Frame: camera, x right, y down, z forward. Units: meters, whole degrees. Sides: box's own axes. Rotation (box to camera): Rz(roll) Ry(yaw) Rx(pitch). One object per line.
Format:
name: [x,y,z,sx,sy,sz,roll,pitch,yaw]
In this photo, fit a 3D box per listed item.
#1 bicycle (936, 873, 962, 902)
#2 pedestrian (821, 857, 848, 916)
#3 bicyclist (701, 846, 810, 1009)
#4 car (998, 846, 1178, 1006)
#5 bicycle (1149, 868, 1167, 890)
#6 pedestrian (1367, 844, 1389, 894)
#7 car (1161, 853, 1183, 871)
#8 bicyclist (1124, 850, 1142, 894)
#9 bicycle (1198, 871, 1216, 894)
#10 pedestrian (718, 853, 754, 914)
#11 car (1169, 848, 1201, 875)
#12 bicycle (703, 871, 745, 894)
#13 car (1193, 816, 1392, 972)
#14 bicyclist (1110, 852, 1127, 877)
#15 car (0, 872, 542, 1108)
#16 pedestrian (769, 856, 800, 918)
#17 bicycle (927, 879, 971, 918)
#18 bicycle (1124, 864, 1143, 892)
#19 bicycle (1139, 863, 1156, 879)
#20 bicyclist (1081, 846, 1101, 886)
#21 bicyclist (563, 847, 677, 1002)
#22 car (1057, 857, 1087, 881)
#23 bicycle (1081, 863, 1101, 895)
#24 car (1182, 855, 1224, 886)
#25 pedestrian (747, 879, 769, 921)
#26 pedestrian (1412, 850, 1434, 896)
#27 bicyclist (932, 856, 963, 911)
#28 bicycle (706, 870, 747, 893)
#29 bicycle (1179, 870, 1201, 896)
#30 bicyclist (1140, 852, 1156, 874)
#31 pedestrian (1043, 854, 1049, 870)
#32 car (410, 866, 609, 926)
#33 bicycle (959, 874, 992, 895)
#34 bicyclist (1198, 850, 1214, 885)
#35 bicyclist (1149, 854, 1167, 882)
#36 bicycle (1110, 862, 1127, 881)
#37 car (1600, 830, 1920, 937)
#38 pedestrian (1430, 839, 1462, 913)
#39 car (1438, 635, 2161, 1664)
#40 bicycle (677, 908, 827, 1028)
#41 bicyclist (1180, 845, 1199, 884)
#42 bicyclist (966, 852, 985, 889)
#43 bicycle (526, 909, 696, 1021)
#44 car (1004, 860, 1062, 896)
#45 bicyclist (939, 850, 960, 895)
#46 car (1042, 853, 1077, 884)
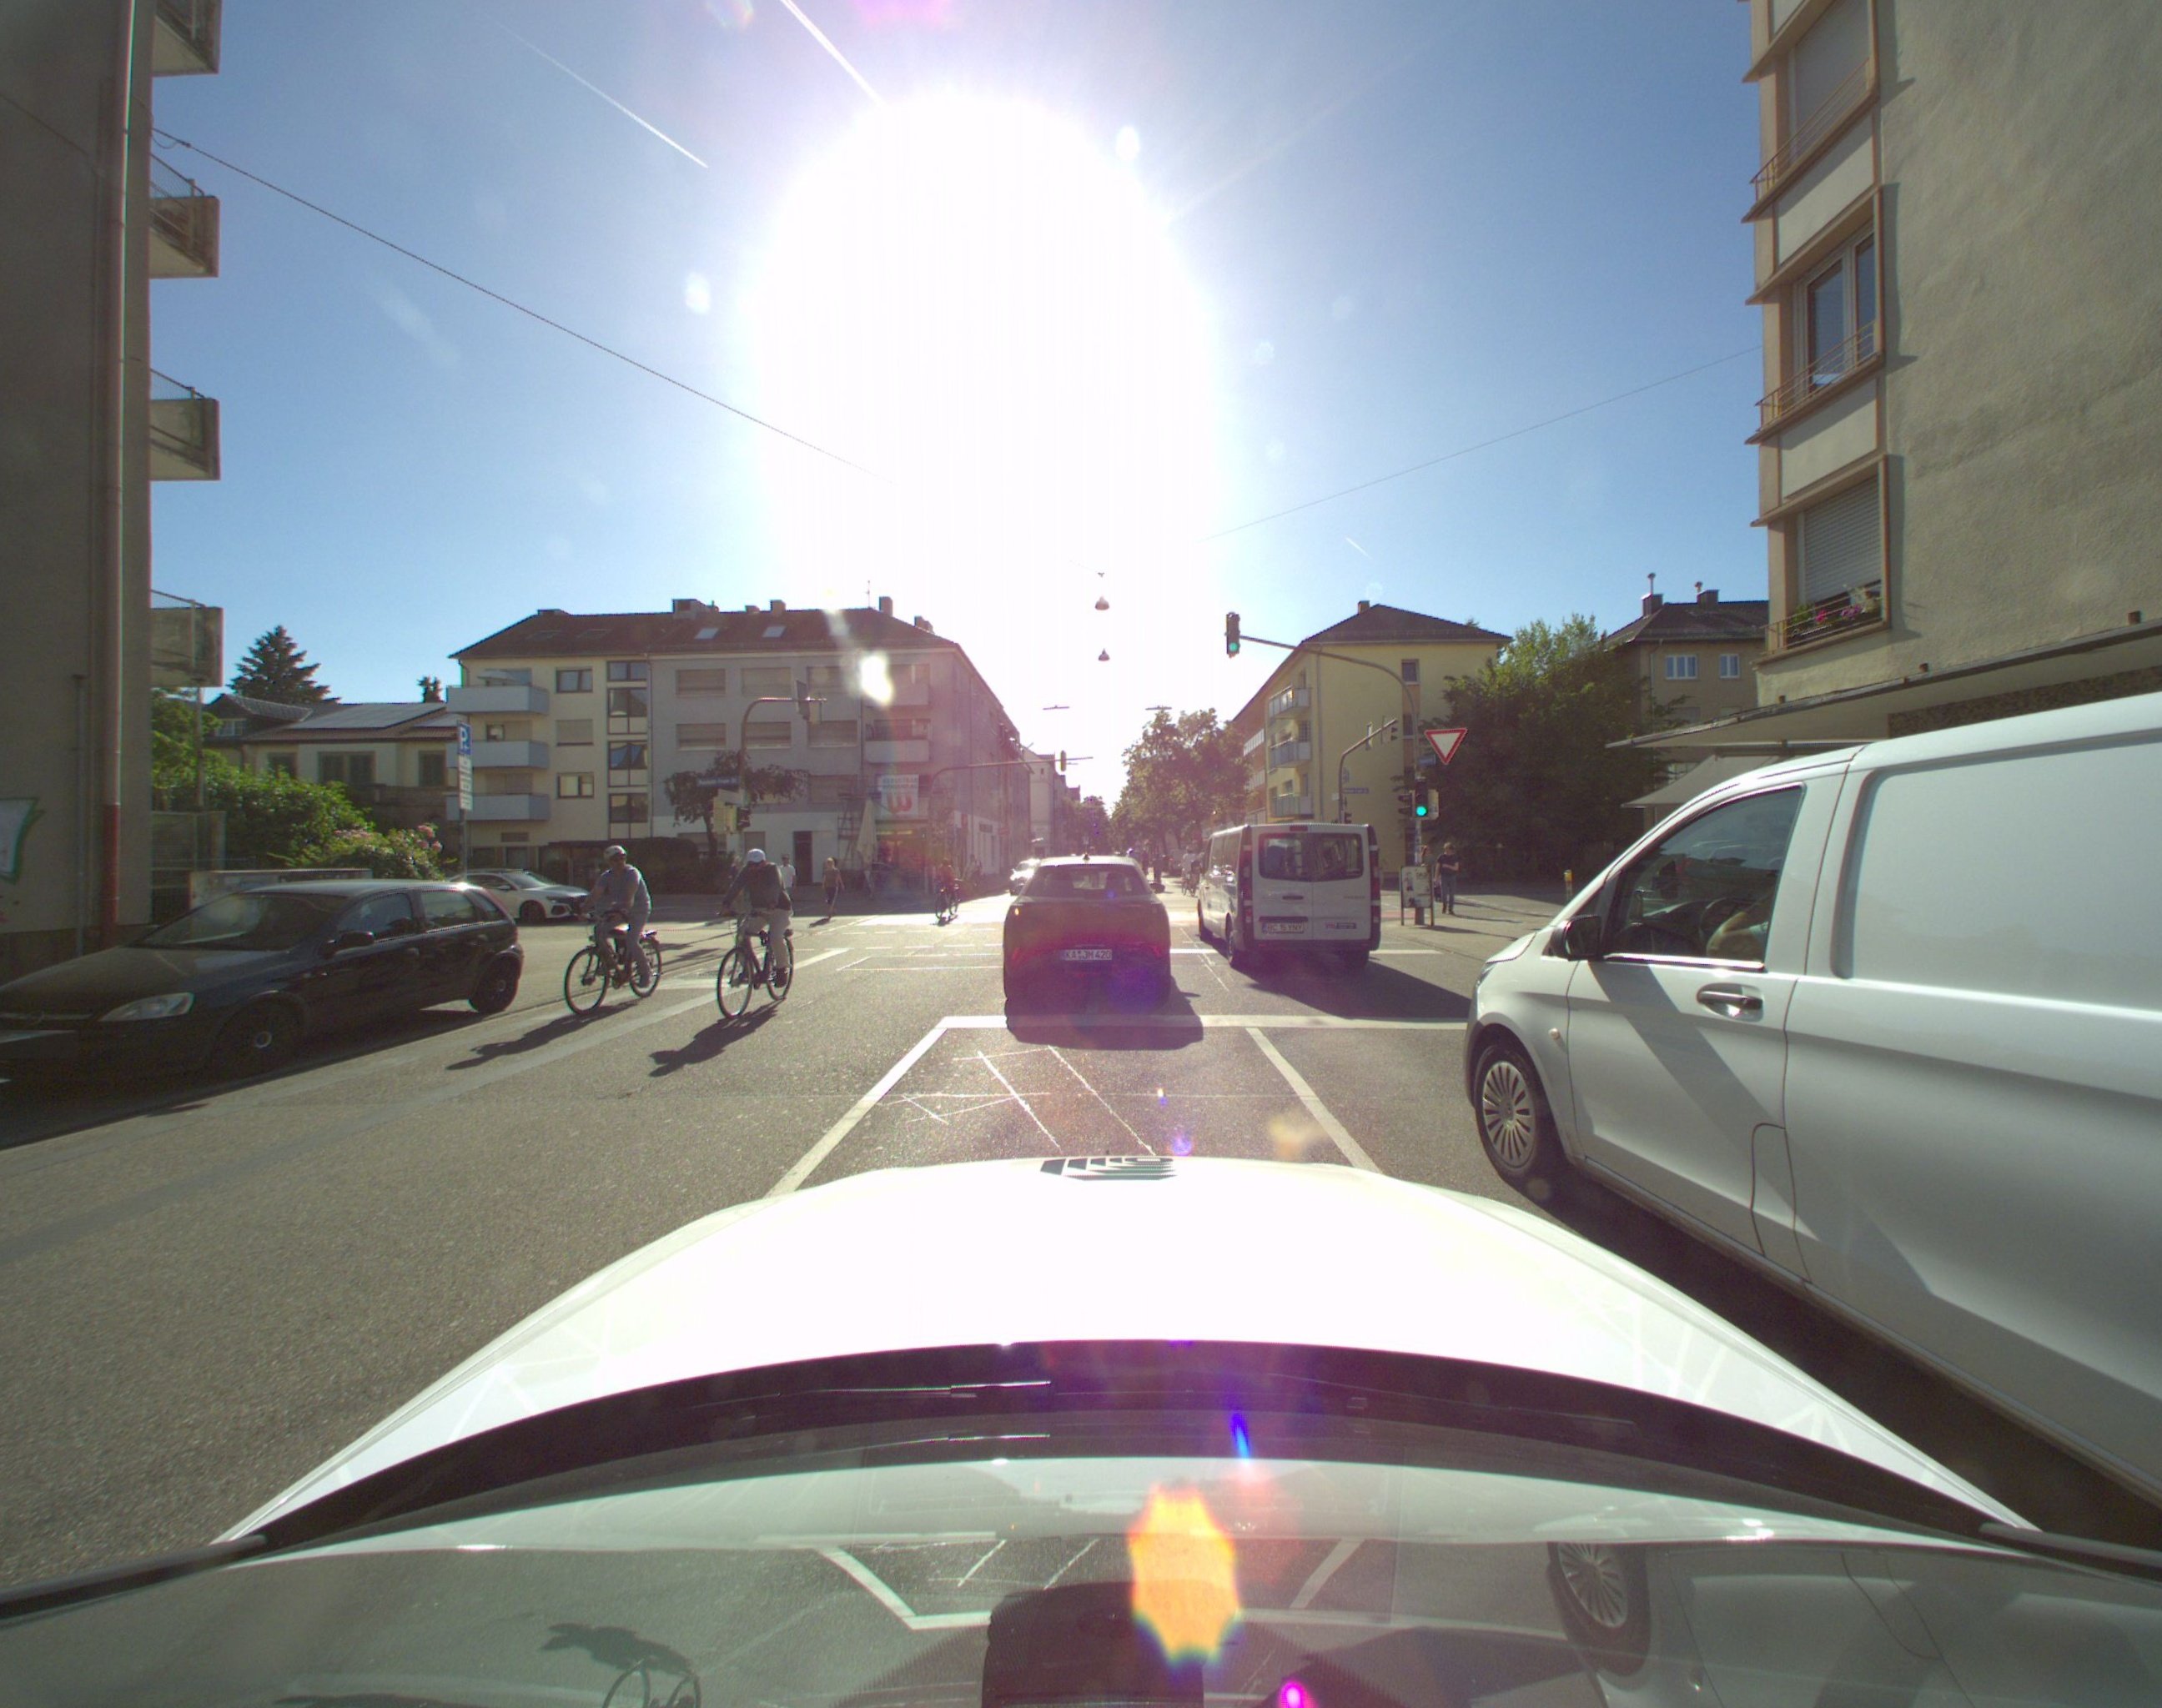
bicycle: [-4.516,1.130,27.988,0.540,0.902,1.827,-1,0,2]
pedestrian: [-6.707,0.879,22.183,0.529,1.581,0.563,-1,0,3]
bicyclist: [-3.361,0.722,8.476,0.677,1.576,0.899,-3,0,2]
car: [0.131,0.724,10.061,1.756,1.558,4.001,-1,0,2]
bicycle: [3.299,1.070,34.887,0.688,0.866,1.878,-1,0,3]
pedestrian: [10.614,0.534,29.088,0.524,1.762,0.623,-1,0,0]
car: [8.089,0.685,72.376,1.706,1.483,3.383,-1,0,2]
bicyclist: [2.038,0.694,31.949,0.630,1.669,1.051,-2,0,1]
bicycle: [5.116,1.158,33.179,0.544,0.866,1.878,-1,0,3]
pedestrian: [-9.855,0.821,23.279,0.571,1.683,0.969,-1,0,2]
car: [7.550,0.501,59.528,2.037,1.846,4.589,-1,0,4]
bicycle: [-15.518,1.228,35.402,1.582,0.940,0.513,-1,0,3]
car: [3.008,0.515,12.780,1.961,1.940,5.057,0,0,2]
bicyclist: [2.064,0.580,45.020,0.853,1.314,1.211,1,0,1]
car: [-7.000,0.941,7.324,1.685,1.448,3.856,1,0,0]
pedestrian: [-8.251,0.896,22.683,0.570,1.689,0.670,-1,0,4]
bicycle: [-3.419,1.151,21.257,0.539,0.902,1.831,-1,0,11]
bicycle: [2.059,0.917,32.110,0.630,1.041,1.796,-2,0,2]
bicycle: [4.027,1.015,49.355,0.853,0.945,2.308,1,0,2]
bicyclist: [0.405,0.499,34.032,0.799,1.649,1.125,-1,0,-1]
bicyclist: [-5.150,0.756,9.156,0.677,1.630,0.899,-3,0,2]
car: [-0.609,0.948,53.780,1.799,1.413,4.424,-3,0,-1]
bicycle: [0.410,1.021,34.172,0.799,1.255,2.138,-1,0,-1]
car: [6.210,0.823,41.786,1.706,1.483,3.482,-1,0,2]
pedestrian: [-9.040,1.272,22.828,0.384,1.146,0.531,-1,0,-1]
pedestrian: [11.878,0.644,28.300,0.537,1.571,0.539,-1,0,1]
bicyclist: [-3.448,0.758,21.097,0.539,1.391,0.791,-1,0,10]
bicycle: [-15.659,1.219,36.002,1.582,0.940,0.513,-1,0,3]
bicycle: [3.958,1.025,29.646,0.617,0.866,1.878,-1,0,3]
bicyclist: [4.038,0.531,49.328,0.853,1.314,1.211,1,0,1]
pedestrian: [-3.687,0.849,86.246,0.576,1.583,0.707,-1,0,-4]
car: [-16.097,1.158,23.102,4.237,1.435,1.936,-1,3,2]
bicycle: [-4.567,1.310,35.458,0.549,0.833,2.141,0,0,18]
bicyclist: [5.098,0.543,33.230,0.544,1.382,0.823,-1,0,3]
bicyclist: [3.299,0.592,34.928,0.689,1.193,0.595,-1,0,3]
bicycle: [2.054,0.946,44.945,0.853,0.945,2.308,1,0,2]
car: [11.521,0.480,14.043,3.972,1.662,1.826,-1,0,1]
pedestrian: [9.081,0.542,20.291,0.599,1.822,0.631,-1,0,14]
car: [2.879,0.510,1.932,1.961,1.810,4.833,-1,0,0]
bicycle: [-3.339,1.116,8.479,0.677,0.952,1.934,-3,0,2]
bicyclist: [3.944,0.373,29.626,0.586,1.382,0.823,-1,0,3]
bicyclist: [-4.587,0.711,35.402,0.549,1.549,0.818,0,0,18]
bicycle: [-5.139,1.169,9.071,0.677,0.952,1.934,-3,0,2]
car: [-2.002,0.994,35.500,1.828,1.433,4.183,-1,0,6]
bicyclist: [-4.524,0.635,27.962,0.540,1.520,0.774,-1,0,2]
car: [-1.120,0.783,44.852,1.585,1.566,4.091,-2,-1,2]
